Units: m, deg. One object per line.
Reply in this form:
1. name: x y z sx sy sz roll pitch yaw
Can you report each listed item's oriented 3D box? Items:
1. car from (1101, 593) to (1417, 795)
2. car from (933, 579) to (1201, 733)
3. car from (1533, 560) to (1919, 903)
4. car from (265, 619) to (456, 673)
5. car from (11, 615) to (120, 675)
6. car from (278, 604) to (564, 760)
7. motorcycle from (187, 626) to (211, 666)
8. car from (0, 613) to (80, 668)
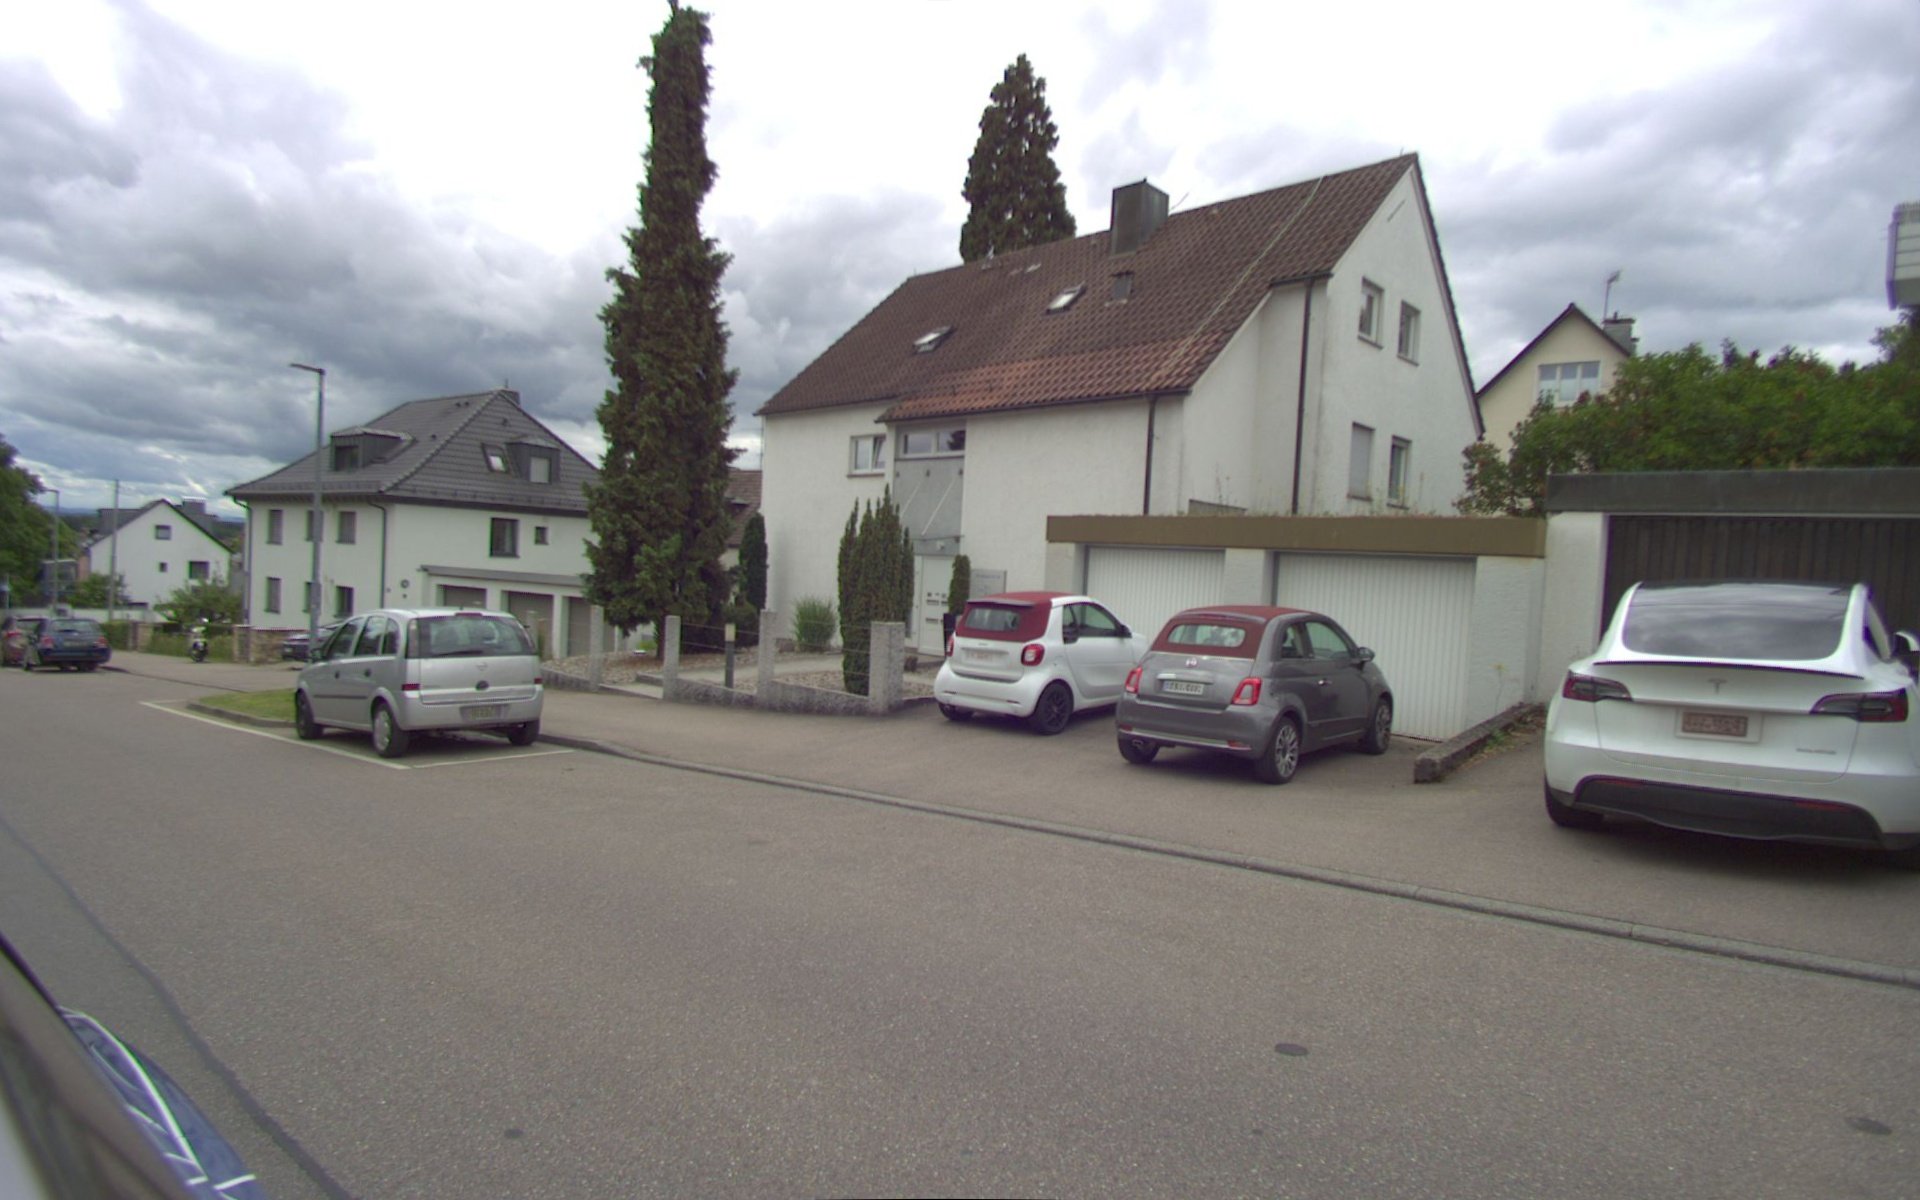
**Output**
1. car: 3.047 0.743 9.933 1.692 1.523 3.393 1 2 42
2. car: 1.432 0.568 12.614 1.656 1.590 3.393 1 2 42
3. car: 5.556 0.591 7.112 1.909 1.641 4.367 -1 2 40
4. car: -16.763 1.239 28.501 1.900 1.378 4.249 -1 -1 35
5. car: -25.056 1.198 28.321 3.506 1.548 1.858 -1 -1 41
6. car: -6.549 0.865 12.137 3.853 1.575 1.742 -1 -2 41
7. motorcycle: -23.959 1.442 31.859 0.424 1.169 1.865 2 -1 -41
8. car: -29.123 1.213 31.689 3.870 1.597 1.858 -1 -1 41
